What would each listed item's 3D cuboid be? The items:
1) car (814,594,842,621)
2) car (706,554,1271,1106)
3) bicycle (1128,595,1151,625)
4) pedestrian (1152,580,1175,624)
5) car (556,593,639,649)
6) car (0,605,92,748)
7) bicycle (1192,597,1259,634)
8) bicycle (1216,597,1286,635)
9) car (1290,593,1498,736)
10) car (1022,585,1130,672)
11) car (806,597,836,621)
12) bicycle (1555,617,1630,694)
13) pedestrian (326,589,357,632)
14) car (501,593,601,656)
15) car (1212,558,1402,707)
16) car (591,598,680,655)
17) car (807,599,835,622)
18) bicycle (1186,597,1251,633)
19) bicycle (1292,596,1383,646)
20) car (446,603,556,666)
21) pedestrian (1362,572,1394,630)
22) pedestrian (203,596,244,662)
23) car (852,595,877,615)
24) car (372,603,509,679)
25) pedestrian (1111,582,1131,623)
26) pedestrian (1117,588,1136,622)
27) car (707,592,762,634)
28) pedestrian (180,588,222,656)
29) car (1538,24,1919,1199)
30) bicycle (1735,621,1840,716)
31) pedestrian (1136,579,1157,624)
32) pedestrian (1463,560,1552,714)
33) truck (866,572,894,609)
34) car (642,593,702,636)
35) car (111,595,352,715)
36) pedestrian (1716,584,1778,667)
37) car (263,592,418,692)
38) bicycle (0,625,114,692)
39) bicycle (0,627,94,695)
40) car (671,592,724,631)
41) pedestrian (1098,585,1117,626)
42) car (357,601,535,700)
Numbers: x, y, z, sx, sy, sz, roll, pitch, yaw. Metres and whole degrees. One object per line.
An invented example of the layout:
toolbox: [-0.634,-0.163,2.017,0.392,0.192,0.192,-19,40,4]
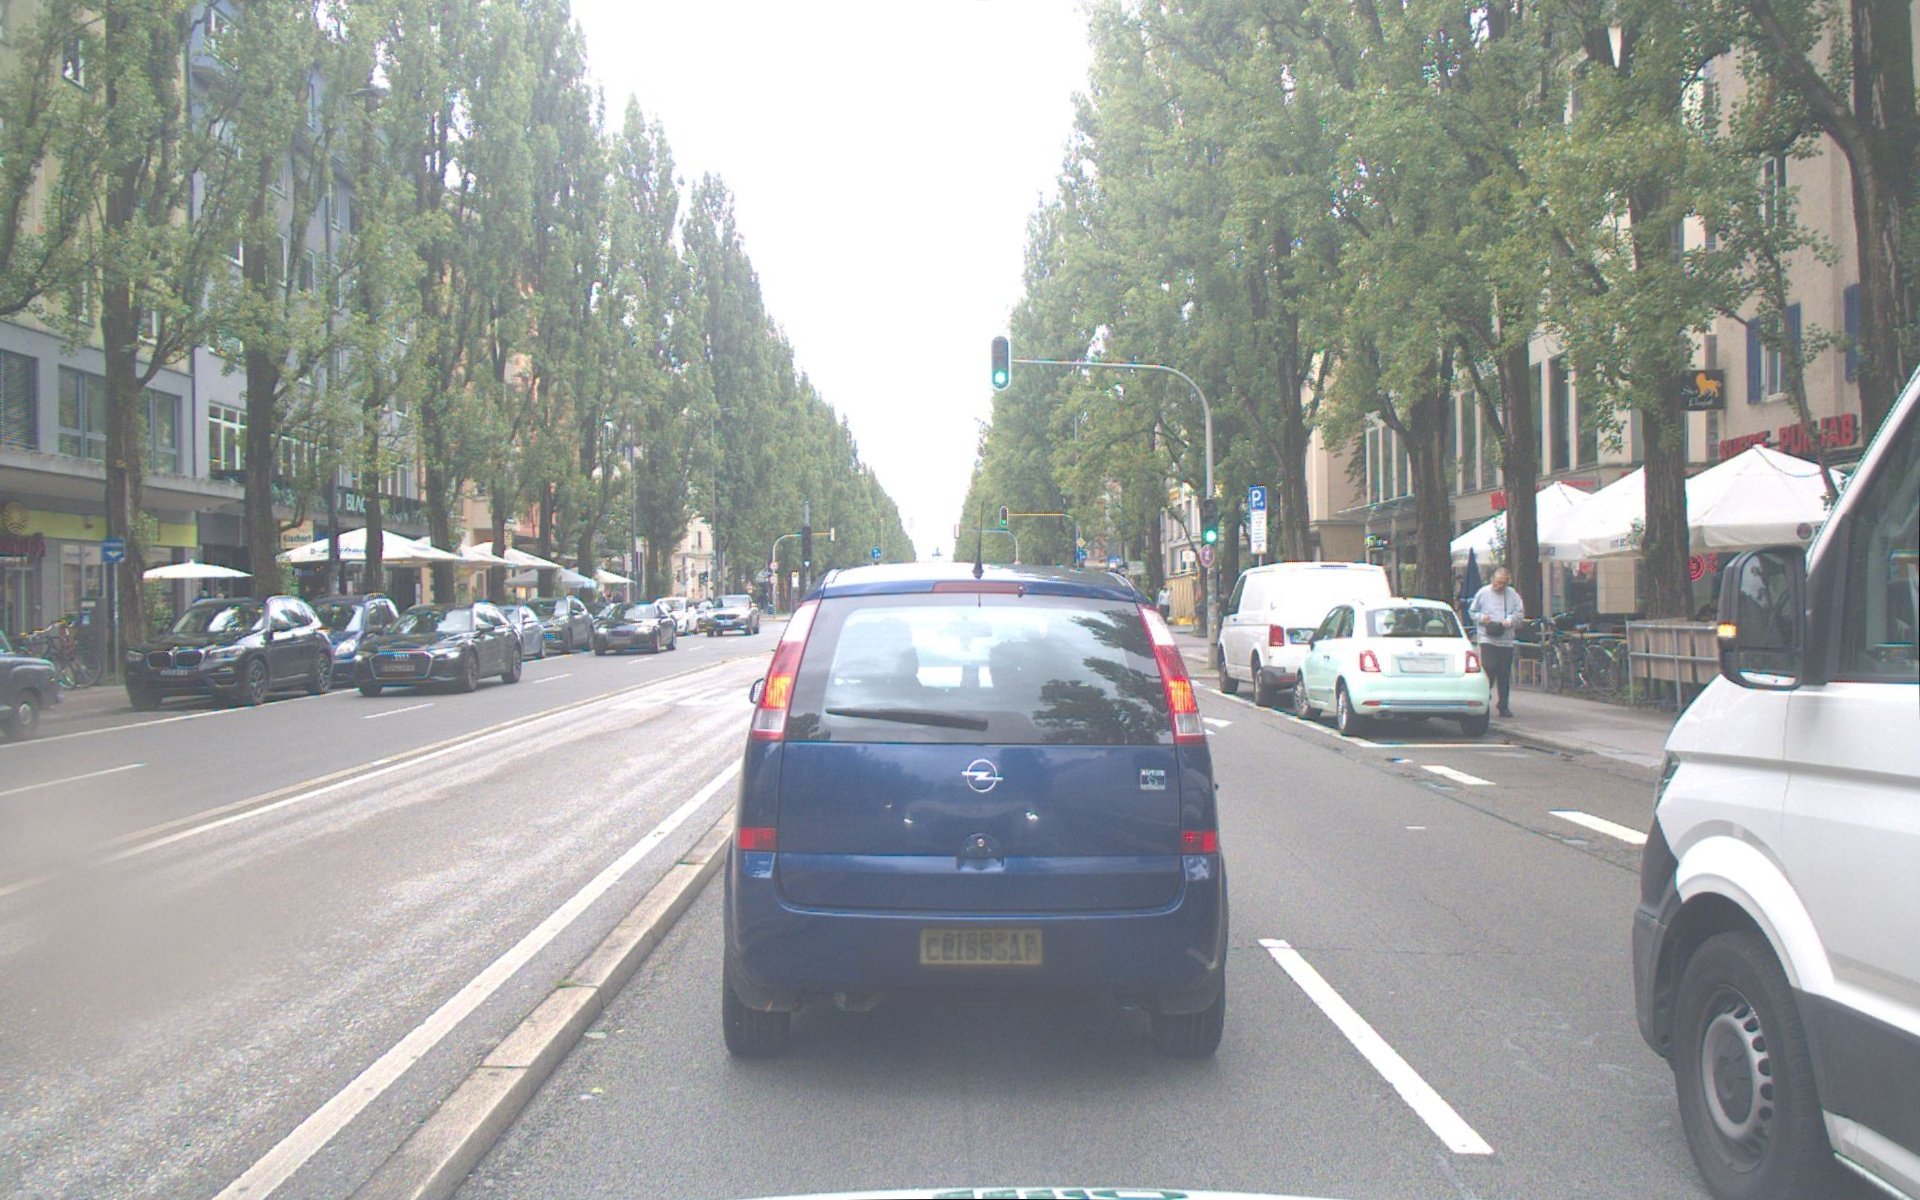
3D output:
car: [-10.412,0.576,130.726,1.953,2.049,3.999,-1,0,-1]
car: [0.066,0.658,6.804,1.637,1.596,3.999,0,0,-1]
bicycle: [8.202,0.443,75.660,0.757,1.372,2.449,-1,0,-1]
pedestrian: [8.697,0.073,70.657,0.707,1.859,0.885,1,-1,-11]
car: [-11.979,0.665,54.836,1.828,1.694,4.119,-2,0,-1]
car: [-11.660,0.905,18.253,1.828,1.579,4.413,-2,0,-1]
bicycle: [9.216,0.523,57.434,2.182,1.225,0.626,-1,0,-3]
bicycle: [9.584,0.524,54.527,2.182,1.225,0.626,-1,0,-3]
car: [4.969,0.686,19.359,1.509,1.518,3.523,0,0,0]
car: [2.269,0.532,33.326,1.858,1.650,3.999,0,0,-1]
car: [-10.017,0.622,119.581,1.828,1.695,4.119,-1,0,-1]
bicycle: [8.792,0.759,23.033,0.342,1.013,1.453,-2,0,-4]
pedestrian: [-20.905,0.348,55.914,0.750,1.434,0.799,1,-1,-6]
car: [-11.908,0.680,48.415,1.828,1.694,4.400,-2,0,-1]
car: [4.991,0.415,24.448,1.751,1.980,4.729,0,0,-1]
car: [-9.201,0.720,47.208,1.710,1.459,4.129,-2,0,-1]
car: [-10.584,0.809,125.990,1.828,1.695,4.119,-1,0,-1]
bicycle: [9.171,0.523,58.811,2.182,1.225,0.626,-1,0,-3]
bicycle: [9.706,0.527,42.554,2.182,1.225,0.626,-1,0,-3]
car: [-11.812,0.860,42.829,1.698,1.450,4.142,-2,0,-1]
pedestrian: [12.395,0.033,49.036,0.660,1.715,0.758,-1,-1,-5]
pedestrian: [-19.389,0.756,43.546,0.740,1.715,0.675,-1,-1,0]
car: [-7.208,0.386,124.729,1.699,1.491,3.364,-1,0,-1]
car: [-11.747,0.884,37.681,1.762,1.514,4.349,-2,0,-1]
pedestrian: [7.299,0.122,74.997,0.625,1.859,0.885,1,-1,-11]
pedestrian: [8.772,0.264,87.183,0.865,1.797,0.769,-1,0,-4]
car: [-9.302,0.513,68.531,1.735,1.663,4.454,-2,0,-2]
pedestrian: [-19.355,0.555,42.184,0.740,1.715,0.675,-1,-1,0]
car: [2.779,0.224,1.625,2.021,2.536,6.729,0,0,-1]
bicycle: [9.421,0.763,18.883,0.342,1.013,1.453,-2,0,-4]
pedestrian: [7.939,0.064,70.495,0.625,1.859,0.885,1,-1,-11]
pedestrian: [6.577,0.437,19.897,0.810,1.804,0.871,-1,0,4]
truck: [-7.458,-0.886,154.144,2.334,3.405,7.109,-1,0,-1]
car: [-12.231,0.599,70.561,1.828,1.694,4.119,-2,0,-1]
car: [-11.573,0.802,26.651,1.828,1.693,4.610,-2,0,-1]
pedestrian: [13.034,0.418,27.414,0.625,1.347,0.800,-1,0,-1]
car: [-11.897,0.761,32.032,1.676,1.751,3.919,-2,0,-4]
bicycle: [-16.176,1.039,29.361,1.909,1.114,0.718,2,0,-7]
bicycle: [-16.103,1.043,28.531,1.909,1.114,0.718,2,0,-7]
car: [-12.338,0.532,77.835,1.828,1.694,4.119,-2,0,-1]
pedestrian: [6.685,0.244,74.789,0.625,1.859,0.885,1,-1,-11]
car: [-8.882,0.812,28.986,1.663,1.488,4.712,-2,0,-1]
